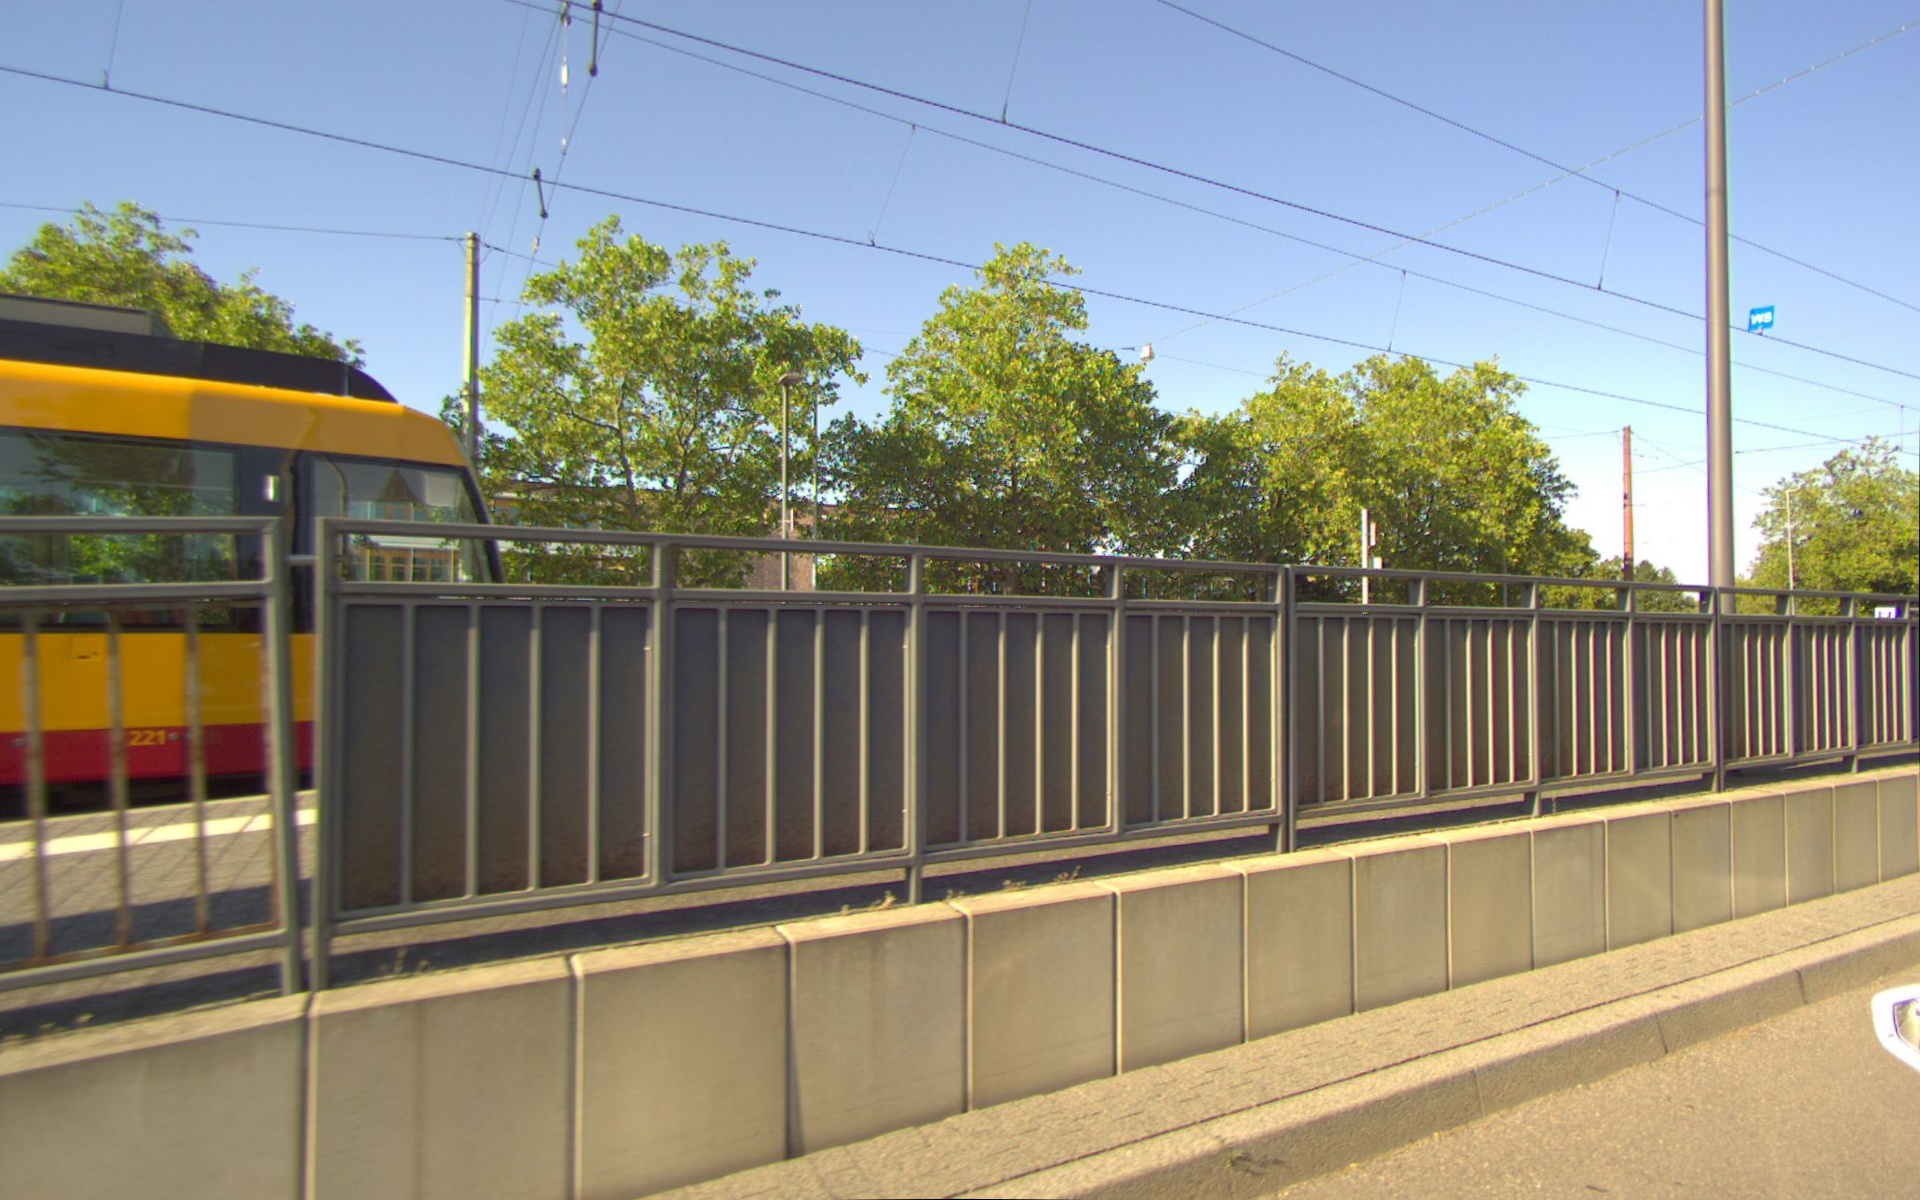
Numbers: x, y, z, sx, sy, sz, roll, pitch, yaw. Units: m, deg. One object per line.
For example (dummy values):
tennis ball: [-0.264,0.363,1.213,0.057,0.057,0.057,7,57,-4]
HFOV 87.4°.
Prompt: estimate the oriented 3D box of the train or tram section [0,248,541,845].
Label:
train or tram section: [-9.545,-0.399,5.967,12.806,3.736,2.816,1,-1,-28]

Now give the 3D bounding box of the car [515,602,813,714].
car: [-4.721,0.877,16.098,4.281,1.582,1.985,1,-1,-29]

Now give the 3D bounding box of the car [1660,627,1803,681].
car: [24.432,1.671,31.793,4.487,1.582,1.985,1,-1,-29]
